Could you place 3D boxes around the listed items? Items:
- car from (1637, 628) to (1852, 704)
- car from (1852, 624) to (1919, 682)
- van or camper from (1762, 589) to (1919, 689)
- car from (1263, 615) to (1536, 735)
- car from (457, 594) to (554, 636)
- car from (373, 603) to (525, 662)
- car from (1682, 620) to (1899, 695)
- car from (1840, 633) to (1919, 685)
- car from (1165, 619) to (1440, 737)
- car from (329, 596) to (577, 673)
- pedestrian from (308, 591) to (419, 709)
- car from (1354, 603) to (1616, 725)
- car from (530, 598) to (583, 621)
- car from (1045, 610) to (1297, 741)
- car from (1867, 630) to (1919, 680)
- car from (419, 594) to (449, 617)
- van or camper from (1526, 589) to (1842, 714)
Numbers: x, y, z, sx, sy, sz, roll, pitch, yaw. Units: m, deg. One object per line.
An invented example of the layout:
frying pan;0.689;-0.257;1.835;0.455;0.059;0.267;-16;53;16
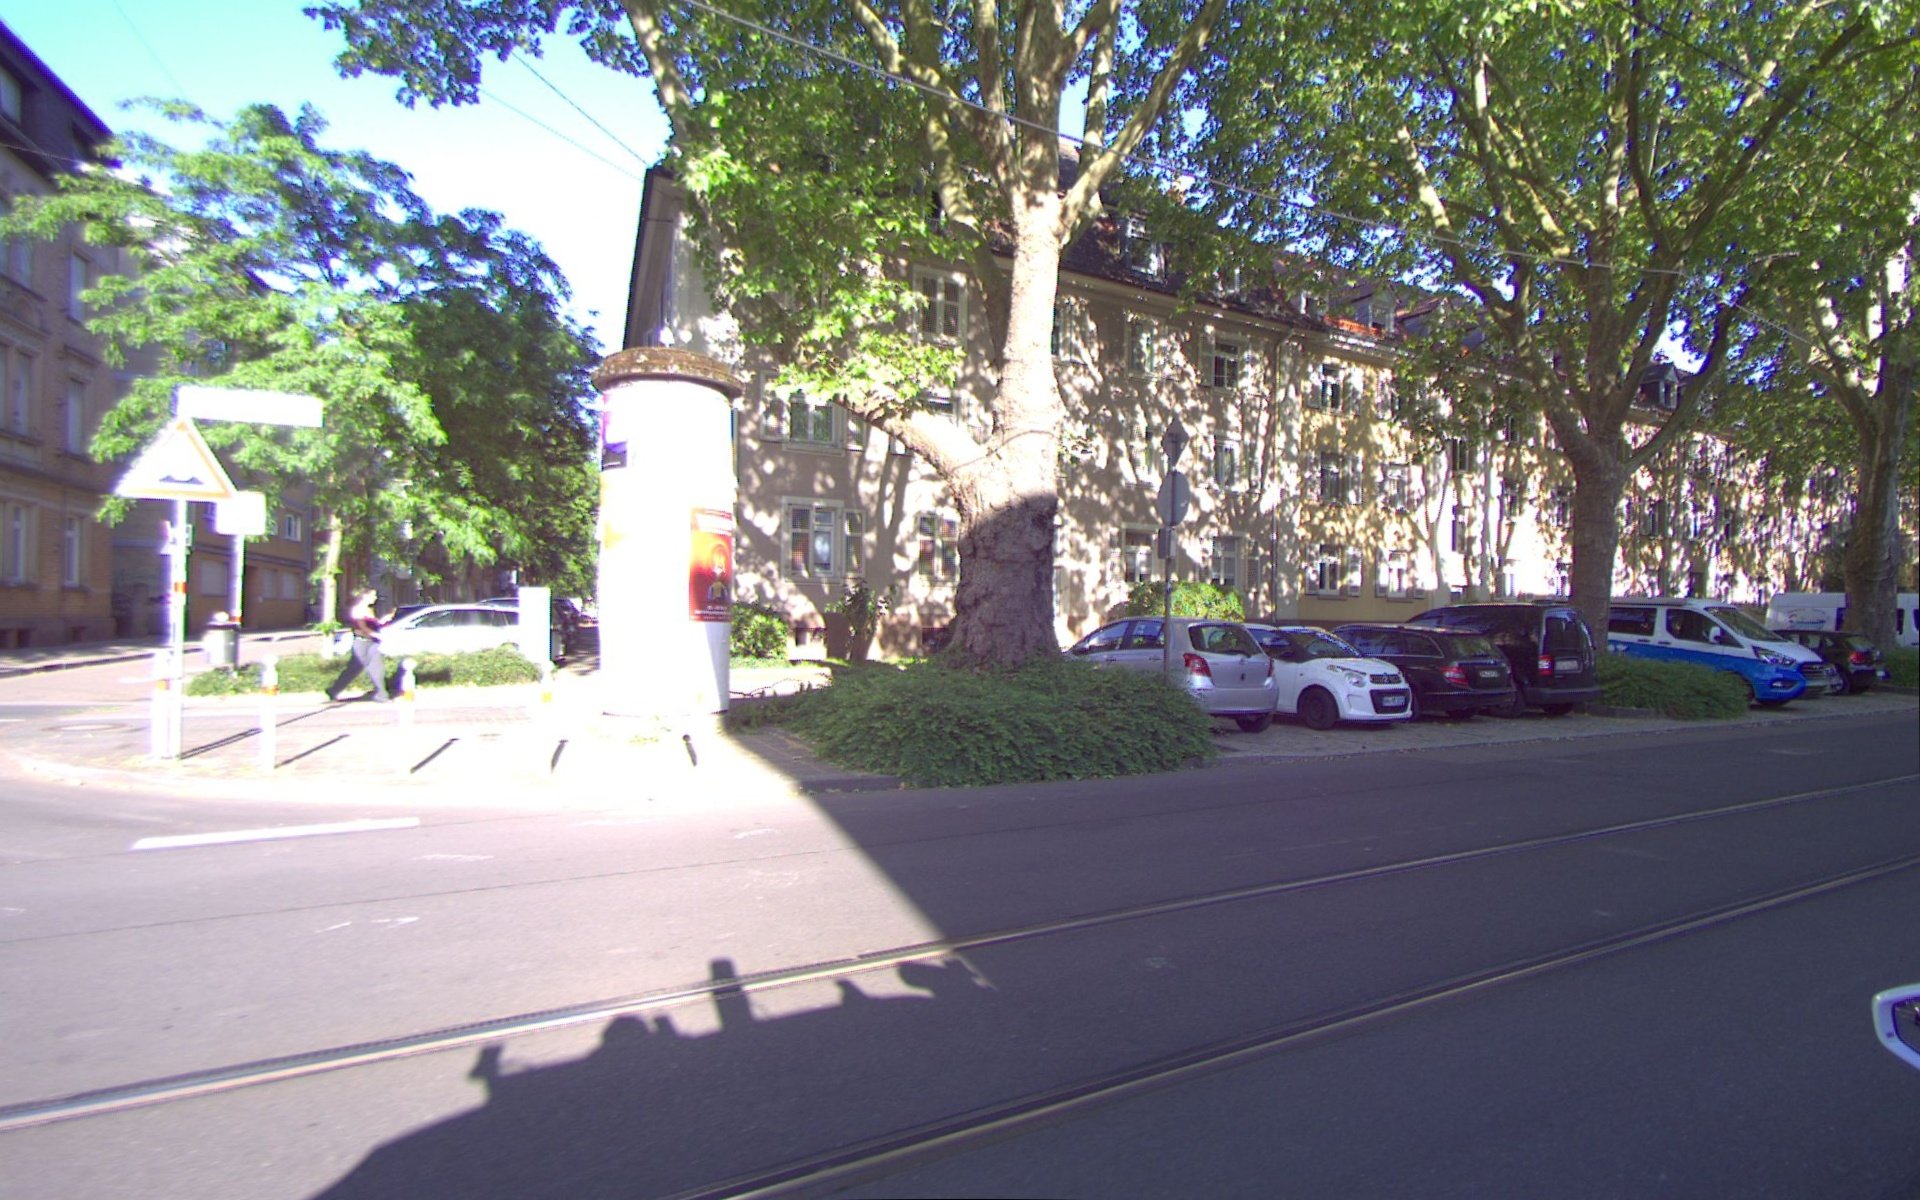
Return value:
car;17.562;1.418;22.618;1.680;1.479;3.505;1;-1;-36
car;29.022;1.564;29.503;1.840;1.685;3.831;1;-2;-29
van or camper;25.365;1.029;27.072;2.414;2.549;5.368;1;-1;-28
car;6.950;1.096;16.198;1.781;1.646;3.659;1;-1;-34
car;-17.403;0.568;38.569;3.299;1.539;1.475;1;0;-22
car;-12.894;0.817;25.533;3.299;1.409;1.475;1;0;-22
car;19.628;1.303;23.910;1.592;1.586;3.669;1;-1;-27
car;27.488;1.653;27.902;1.732;1.417;4.246;1;-2;-29
car;5.060;1.074;15.238;1.685;1.505;3.657;1;-1;-36
car;-10.633;0.725;21.450;4.543;1.516;1.699;1;0;-22
pedestrian;-8.484;0.694;14.345;1.008;1.598;1.093;2;0;-12
car;8.846;0.996;17.220;1.684;1.839;3.665;1;-1;-30
car;-27.766;0.641;69.208;3.299;1.539;1.475;1;0;-22
car;2.836;0.953;14.270;1.680;1.574;3.672;1;-1;-24
car;30.816;1.717;30.997;1.840;1.517;3.831;1;-2;-29
car;-37.079;0.405;70.831;1.460;1.539;3.050;1;-1;-20
van or camper;14.465;0.932;20.377;2.097;2.219;4.791;1;-1;-33
